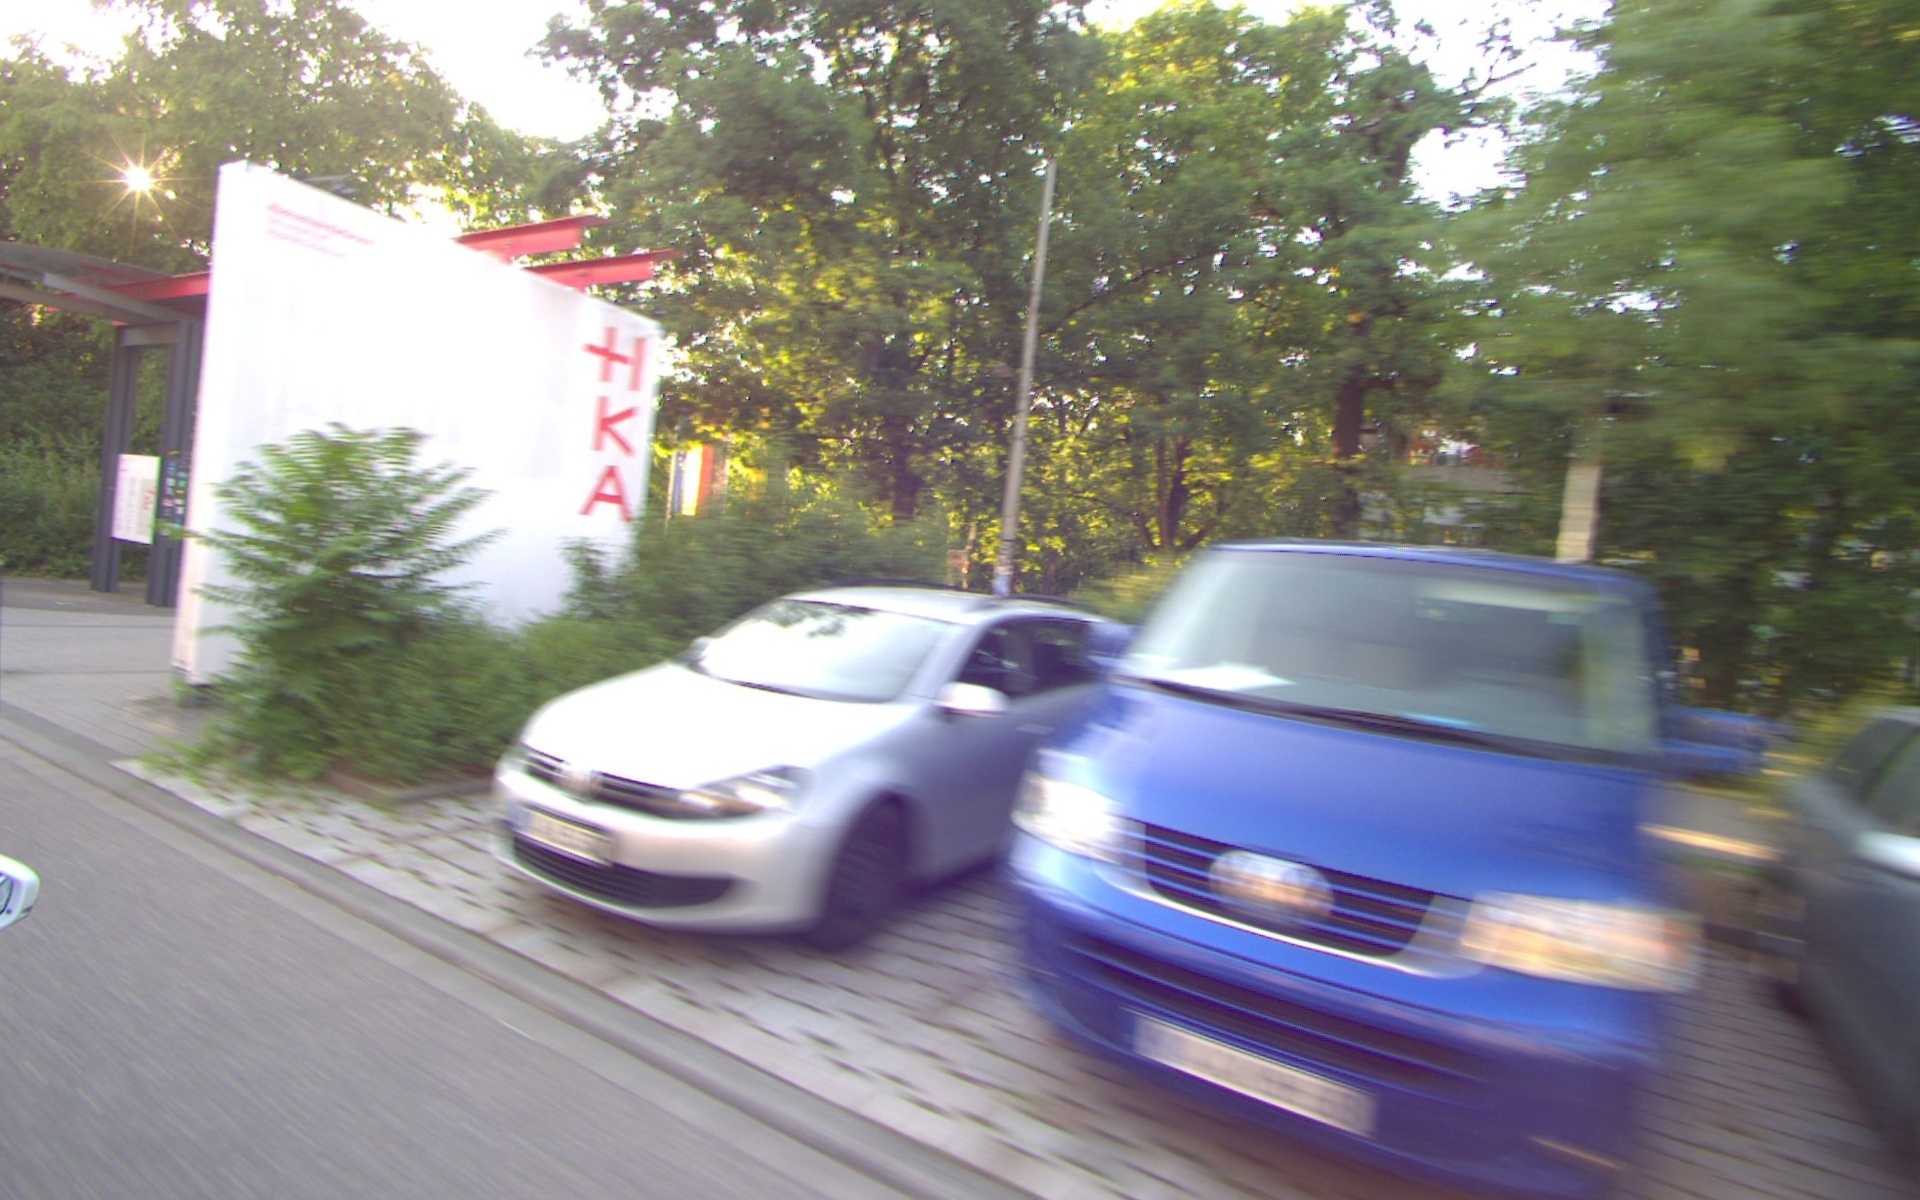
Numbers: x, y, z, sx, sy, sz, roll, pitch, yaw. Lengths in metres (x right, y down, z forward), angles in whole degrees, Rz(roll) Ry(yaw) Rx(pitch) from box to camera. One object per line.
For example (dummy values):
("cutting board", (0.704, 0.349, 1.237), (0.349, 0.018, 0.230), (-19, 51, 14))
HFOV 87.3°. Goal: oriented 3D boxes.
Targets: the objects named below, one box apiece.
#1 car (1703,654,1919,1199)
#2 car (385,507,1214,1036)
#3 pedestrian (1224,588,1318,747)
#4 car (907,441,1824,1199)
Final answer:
("car", (4.006, 1.125, 3.273), (1.884, 1.574, 4.928), (7, 2, 30))
("car", (-0.260, 0.568, 5.761), (1.884, 1.574, 4.928), (7, 2, 30))
("pedestrian", (3.794, 0.814, 12.256), (0.772, 1.794, 0.665), (8, 1, 27))
("car", (1.962, 0.673, 4.530), (1.884, 1.941, 4.854), (7, 2, 30))
